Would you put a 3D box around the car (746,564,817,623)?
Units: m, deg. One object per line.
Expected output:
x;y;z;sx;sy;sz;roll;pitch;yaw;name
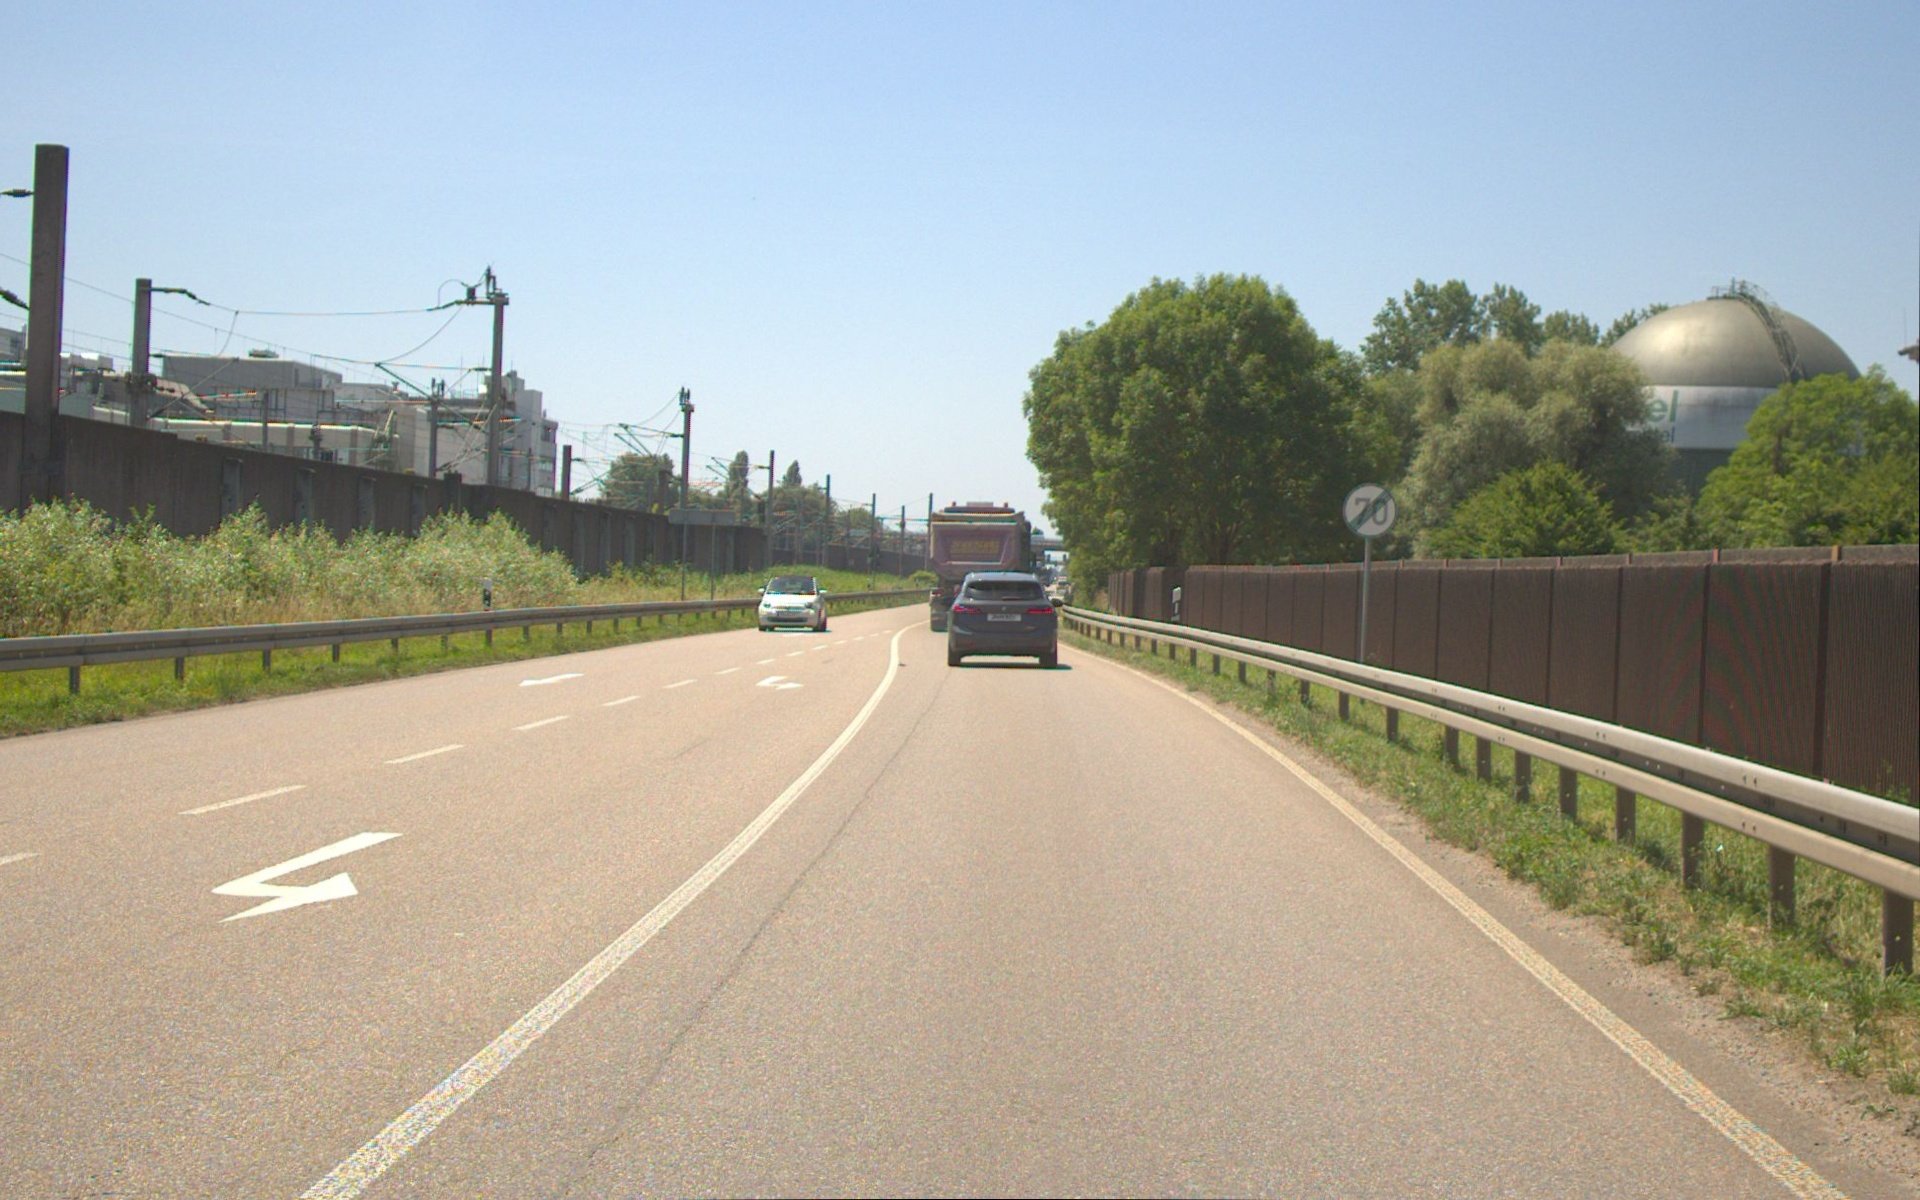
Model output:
-4.772;-0.191;92.106;1.672;1.497;3.722;1;1;0;car

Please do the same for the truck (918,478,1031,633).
0.376;-1.183;99.570;2.996;4.166;11.807;1;0;0;truck

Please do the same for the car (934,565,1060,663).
0.639;0.262;57.565;1.993;1.498;4.000;2;-1;1;car

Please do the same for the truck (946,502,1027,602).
0.990;-1.817;136.609;2.996;3.707;10.559;1;0;0;truck
